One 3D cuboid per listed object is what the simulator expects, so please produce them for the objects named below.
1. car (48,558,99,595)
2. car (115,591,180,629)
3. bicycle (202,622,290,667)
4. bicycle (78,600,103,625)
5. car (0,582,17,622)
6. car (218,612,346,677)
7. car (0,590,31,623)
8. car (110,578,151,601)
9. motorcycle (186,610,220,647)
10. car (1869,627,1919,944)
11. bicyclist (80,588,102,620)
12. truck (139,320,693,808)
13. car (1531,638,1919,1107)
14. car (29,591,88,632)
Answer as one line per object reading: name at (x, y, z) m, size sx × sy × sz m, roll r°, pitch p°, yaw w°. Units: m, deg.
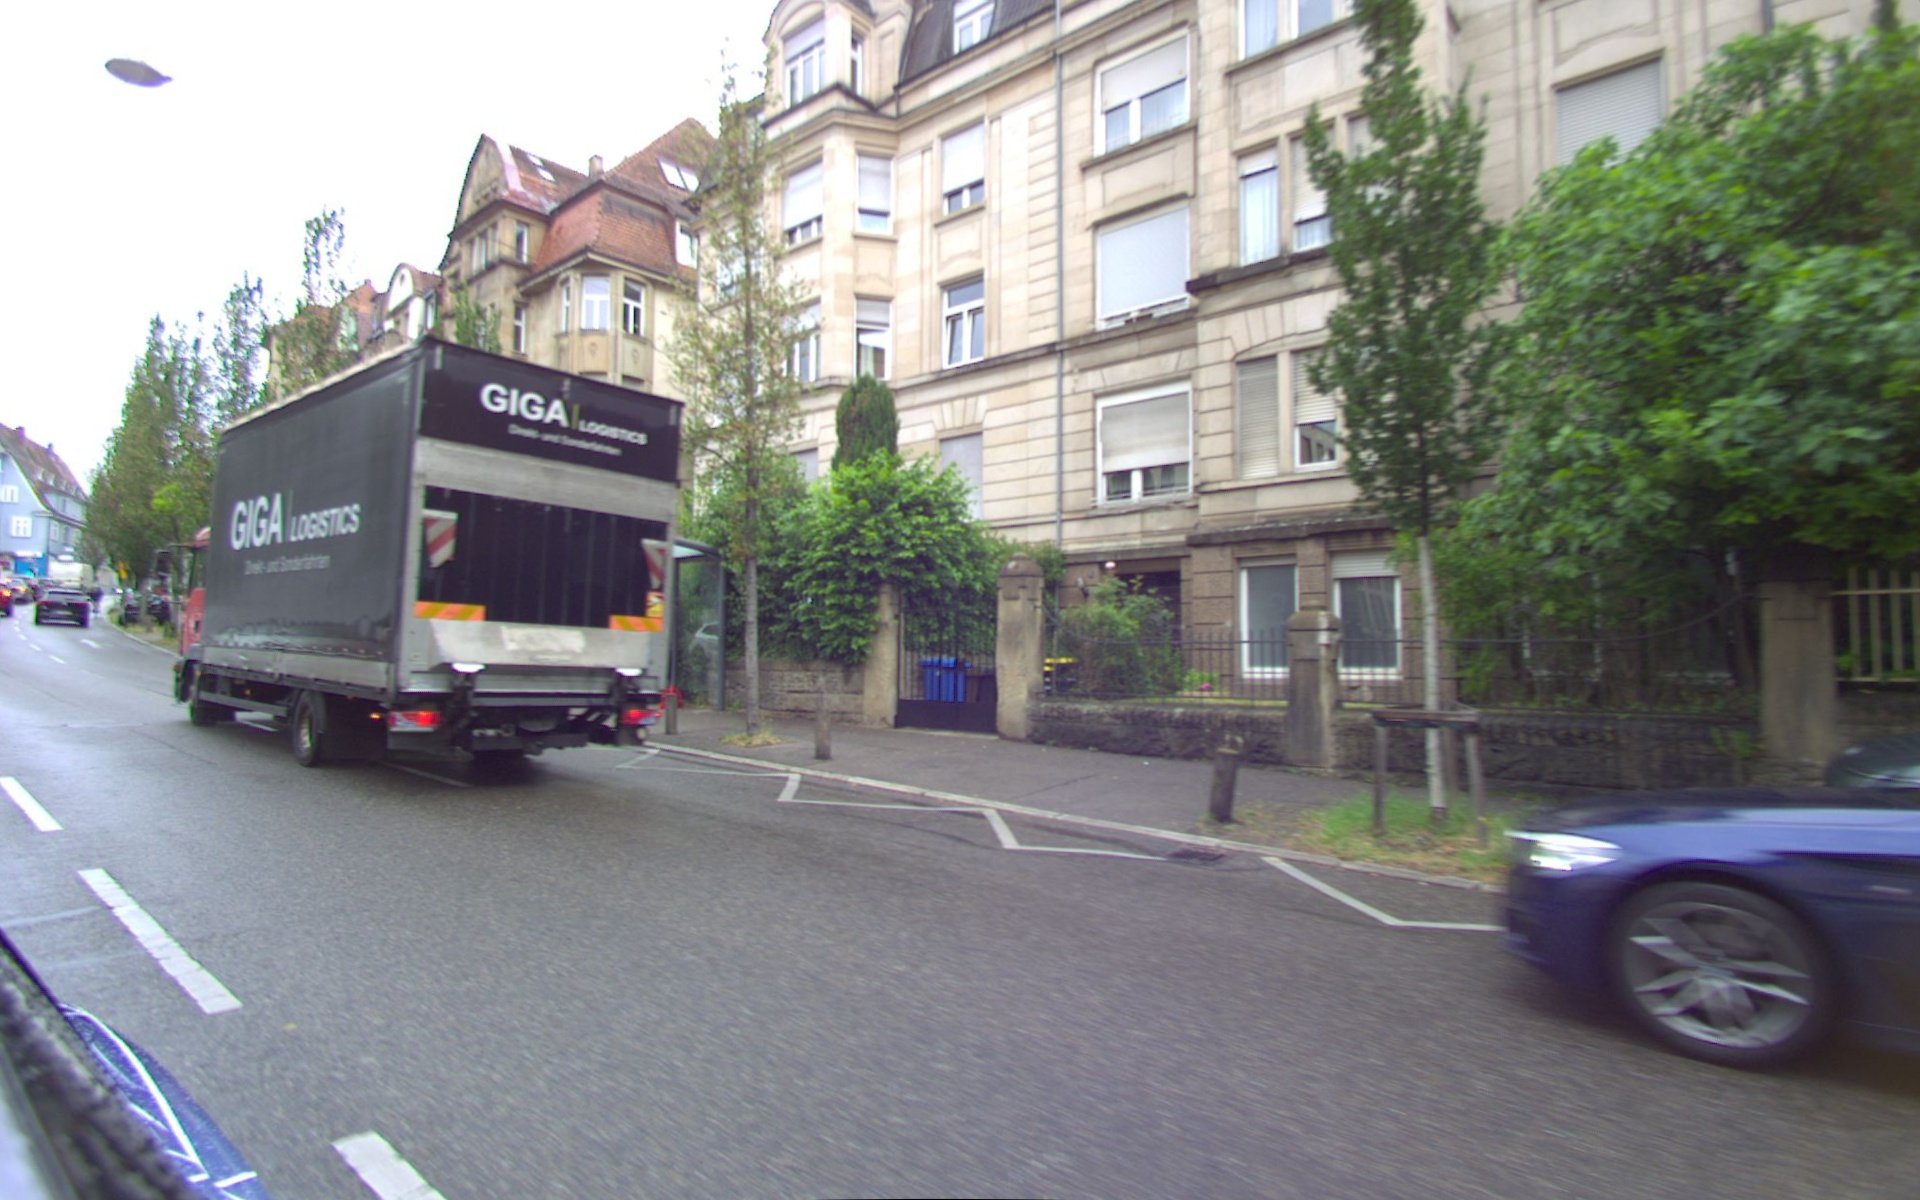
car at (-68.056, -1.759, 77.796) m, size 2.101 × 2.525 × 5.423 m, roll 5°, pitch -4°, yaw -34°
car at (-36.596, 0.402, 45.567) m, size 1.973 × 1.607 × 3.831 m, roll -1°, pitch 1°, yaw -44°
bicycle at (-20.764, 1.307, 29.458) m, size 0.657 × 1.245 × 1.955 m, roll 0°, pitch -3°, yaw 41°
bicycle at (-44.634, 0.642, 51.938) m, size 1.981 × 1.245 × 0.648 m, roll 0°, pitch -3°, yaw 41°
car at (-44.749, 0.024, 46.714) m, size 1.632 × 1.721 × 4.119 m, roll 6°, pitch -3°, yaw -42°
car at (-18.563, 1.156, 27.646) m, size 4.298 × 1.571 × 1.724 m, roll 0°, pitch 0°, yaw 39°
car at (-55.934, 0.345, 59.622) m, size 1.632 × 1.721 × 4.119 m, roll 6°, pitch -3°, yaw -42°
car at (-83.953, -1.052, 102.481) m, size 2.100 × 2.042 × 5.426 m, roll 5°, pitch -4°, yaw -28°
motorcycle at (-27.171, 1.020, 36.300) m, size 1.983 × 1.245 × 0.648 m, roll 0°, pitch -3°, yaw 45°
car at (7.093, 0.988, 4.585) m, size 4.297 × 1.571 × 1.725 m, roll 0°, pitch 1°, yaw 39°
bicyclist at (-44.540, 0.200, 51.881) m, size 0.991 × 1.568 × 0.648 m, roll 0°, pitch -3°, yaw 42°
truck at (-7.066, -0.202, 12.117) m, size 9.304 × 3.884 × 2.619 m, roll 0°, pitch -4°, yaw 42°
car at (4.614, 0.932, 3.117) m, size 4.745 × 1.479 × 1.754 m, roll -1°, pitch -4°, yaw 41°
car at (-39.220, 0.490, 44.012) m, size 1.723 × 1.529 × 3.873 m, roll 7°, pitch -4°, yaw -43°
